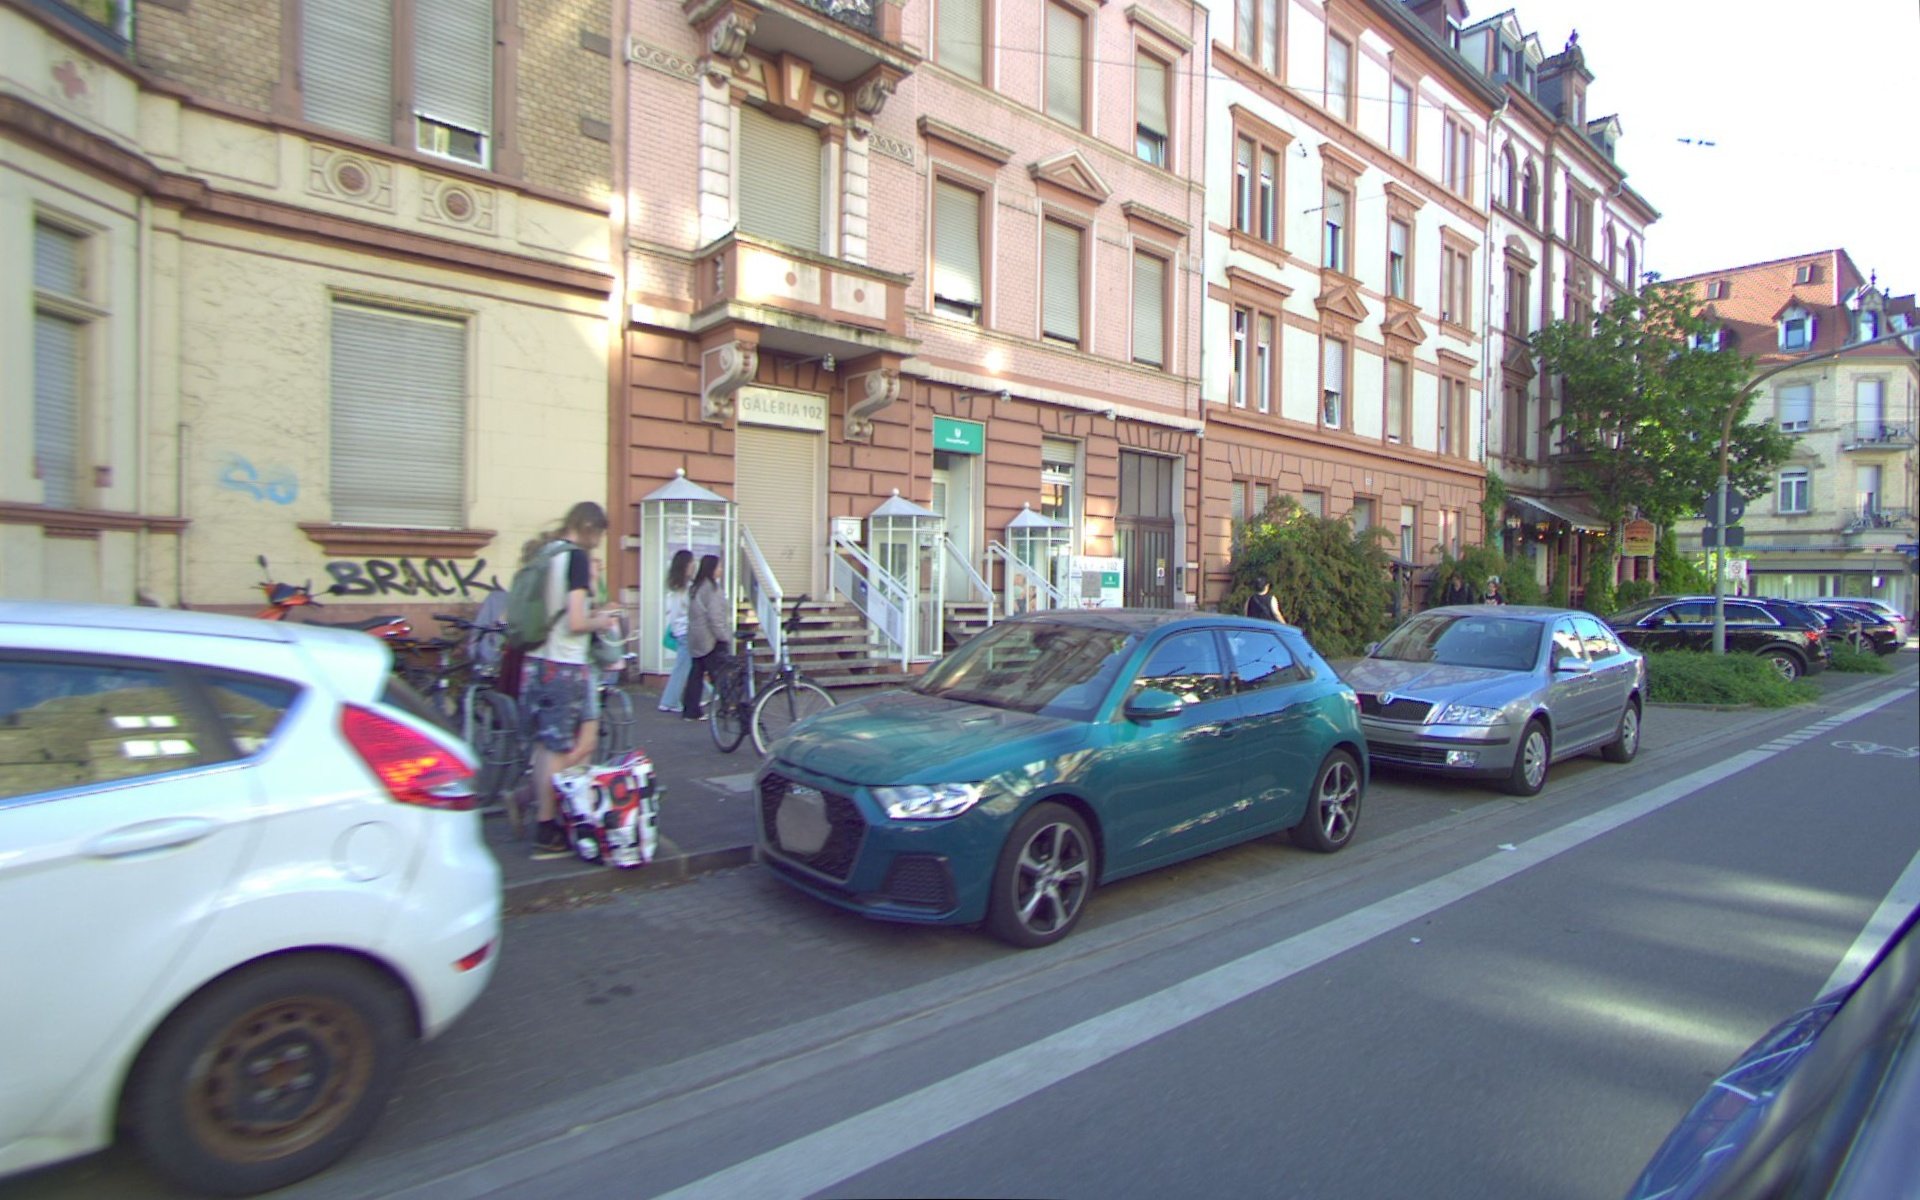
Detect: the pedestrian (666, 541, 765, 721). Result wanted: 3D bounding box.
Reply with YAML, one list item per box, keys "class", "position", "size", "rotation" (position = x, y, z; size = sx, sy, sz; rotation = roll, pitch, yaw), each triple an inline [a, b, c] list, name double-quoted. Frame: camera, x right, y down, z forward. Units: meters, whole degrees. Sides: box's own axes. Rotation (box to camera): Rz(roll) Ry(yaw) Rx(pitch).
- class: "pedestrian"
  position: [-2.347, 0.269, 9.700]
  size: [0.643, 1.626, 0.713]
  rotation: [0, 3, -41]

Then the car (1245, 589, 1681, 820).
- class: "car"
  position: [4.803, 0.713, 9.346]
  size: [4.634, 1.616, 1.877]
  rotation: [-1, 1, -39]

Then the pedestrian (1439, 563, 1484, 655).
- class: "pedestrian"
  position: [9.962, 0.169, 20.101]
  size: [0.848, 1.800, 0.519]
  rotation: [0, 0, -41]

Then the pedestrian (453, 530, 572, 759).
- class: "pedestrian"
  position: [-3.389, 0.309, 7.651]
  size: [0.643, 1.627, 0.713]
  rotation: [0, 0, -41]

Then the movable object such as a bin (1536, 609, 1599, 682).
- class: "movable object such as a bin"
  position: [9.297, 0.678, 15.489]
  size: [0.792, 1.040, 0.605]
  rotation: [0, 1, -41]

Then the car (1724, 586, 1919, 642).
- class: "car"
  position: [26.295, 0.393, 30.983]
  size: [4.320, 1.616, 1.837]
  rotation: [0, 0, 25]

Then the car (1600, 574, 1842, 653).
- class: "car"
  position: [16.759, 0.261, 22.560]
  size: [3.958, 1.616, 1.943]
  rotation: [0, 0, 25]

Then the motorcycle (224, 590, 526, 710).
- class: "motorcycle"
  position: [-5.568, 0.424, 9.780]
  size: [2.475, 1.003, 0.508]
  rotation: [-1, 4, -41]

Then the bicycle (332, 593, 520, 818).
- class: "bicycle"
  position: [-3.506, 0.572, 6.546]
  size: [0.652, 1.237, 2.022]
  rotation: [0, 0, -41]

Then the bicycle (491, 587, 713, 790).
- class: "bicycle"
  position: [-2.686, 0.530, 7.358]
  size: [0.652, 1.237, 2.543]
  rotation: [0, 0, -41]

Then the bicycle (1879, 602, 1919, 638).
- class: "bicycle"
  position: [31.312, 0.659, 33.384]
  size: [0.542, 1.141, 1.400]
  rotation: [0, 0, -40]

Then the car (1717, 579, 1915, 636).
- class: "car"
  position: [24.514, 0.182, 29.189]
  size: [3.958, 1.556, 1.902]
  rotation: [0, 0, 25]

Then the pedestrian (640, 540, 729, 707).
- class: "pedestrian"
  position: [-2.832, 0.224, 10.392]
  size: [0.643, 1.627, 0.713]
  rotation: [0, 0, -41]

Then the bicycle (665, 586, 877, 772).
- class: "bicycle"
  position: [-1.526, 0.523, 7.858]
  size: [0.652, 1.236, 2.059]
  rotation: [0, 1, -42]

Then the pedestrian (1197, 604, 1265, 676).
- class: "pedestrian"
  position: [4.082, 0.590, 15.244]
  size: [0.643, 0.992, 0.713]
  rotation: [0, 4, -41]

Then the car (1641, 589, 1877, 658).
- class: "car"
  position: [19.972, 0.540, 25.579]
  size: [4.287, 1.616, 2.028]
  rotation: [0, 0, 25]

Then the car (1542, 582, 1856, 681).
- class: "car"
  position: [13.153, 0.502, 18.394]
  size: [4.272, 1.616, 1.965]
  rotation: [0, 0, 25]

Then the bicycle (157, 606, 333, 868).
- class: "bicycle"
  position: [-4.208, 0.670, 5.891]
  size: [0.652, 1.237, 2.022]
  rotation: [0, 0, -41]

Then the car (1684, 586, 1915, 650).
- class: "car"
  position: [22.583, 0.450, 27.486]
  size: [4.402, 1.616, 2.071]
  rotation: [0, 0, 25]

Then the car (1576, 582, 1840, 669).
- class: "car"
  position: [14.967, 0.464, 20.573]
  size: [3.958, 1.616, 2.070]
  rotation: [0, 0, 25]

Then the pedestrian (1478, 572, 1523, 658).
- class: "pedestrian"
  position: [10.743, 0.280, 20.123]
  size: [0.848, 1.669, 0.519]
  rotation: [0, 0, -41]

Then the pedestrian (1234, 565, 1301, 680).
- class: "pedestrian"
  position: [4.508, 0.309, 14.832]
  size: [0.643, 1.627, 0.713]
  rotation: [0, 0, -41]

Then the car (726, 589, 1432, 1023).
- class: "car"
  position: [0.878, 0.751, 5.799]
  size: [3.930, 1.616, 1.877]
  rotation: [-1, 1, -41]

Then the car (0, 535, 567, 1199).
- class: "car"
  position: [-3.179, 0.678, 2.236]
  size: [3.930, 1.616, 1.877]
  rotation: [-1, 1, -41]

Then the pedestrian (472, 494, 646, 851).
- class: "pedestrian"
  position: [-2.096, 0.336, 5.281]
  size: [0.643, 1.692, 0.713]
  rotation: [0, 0, -41]
